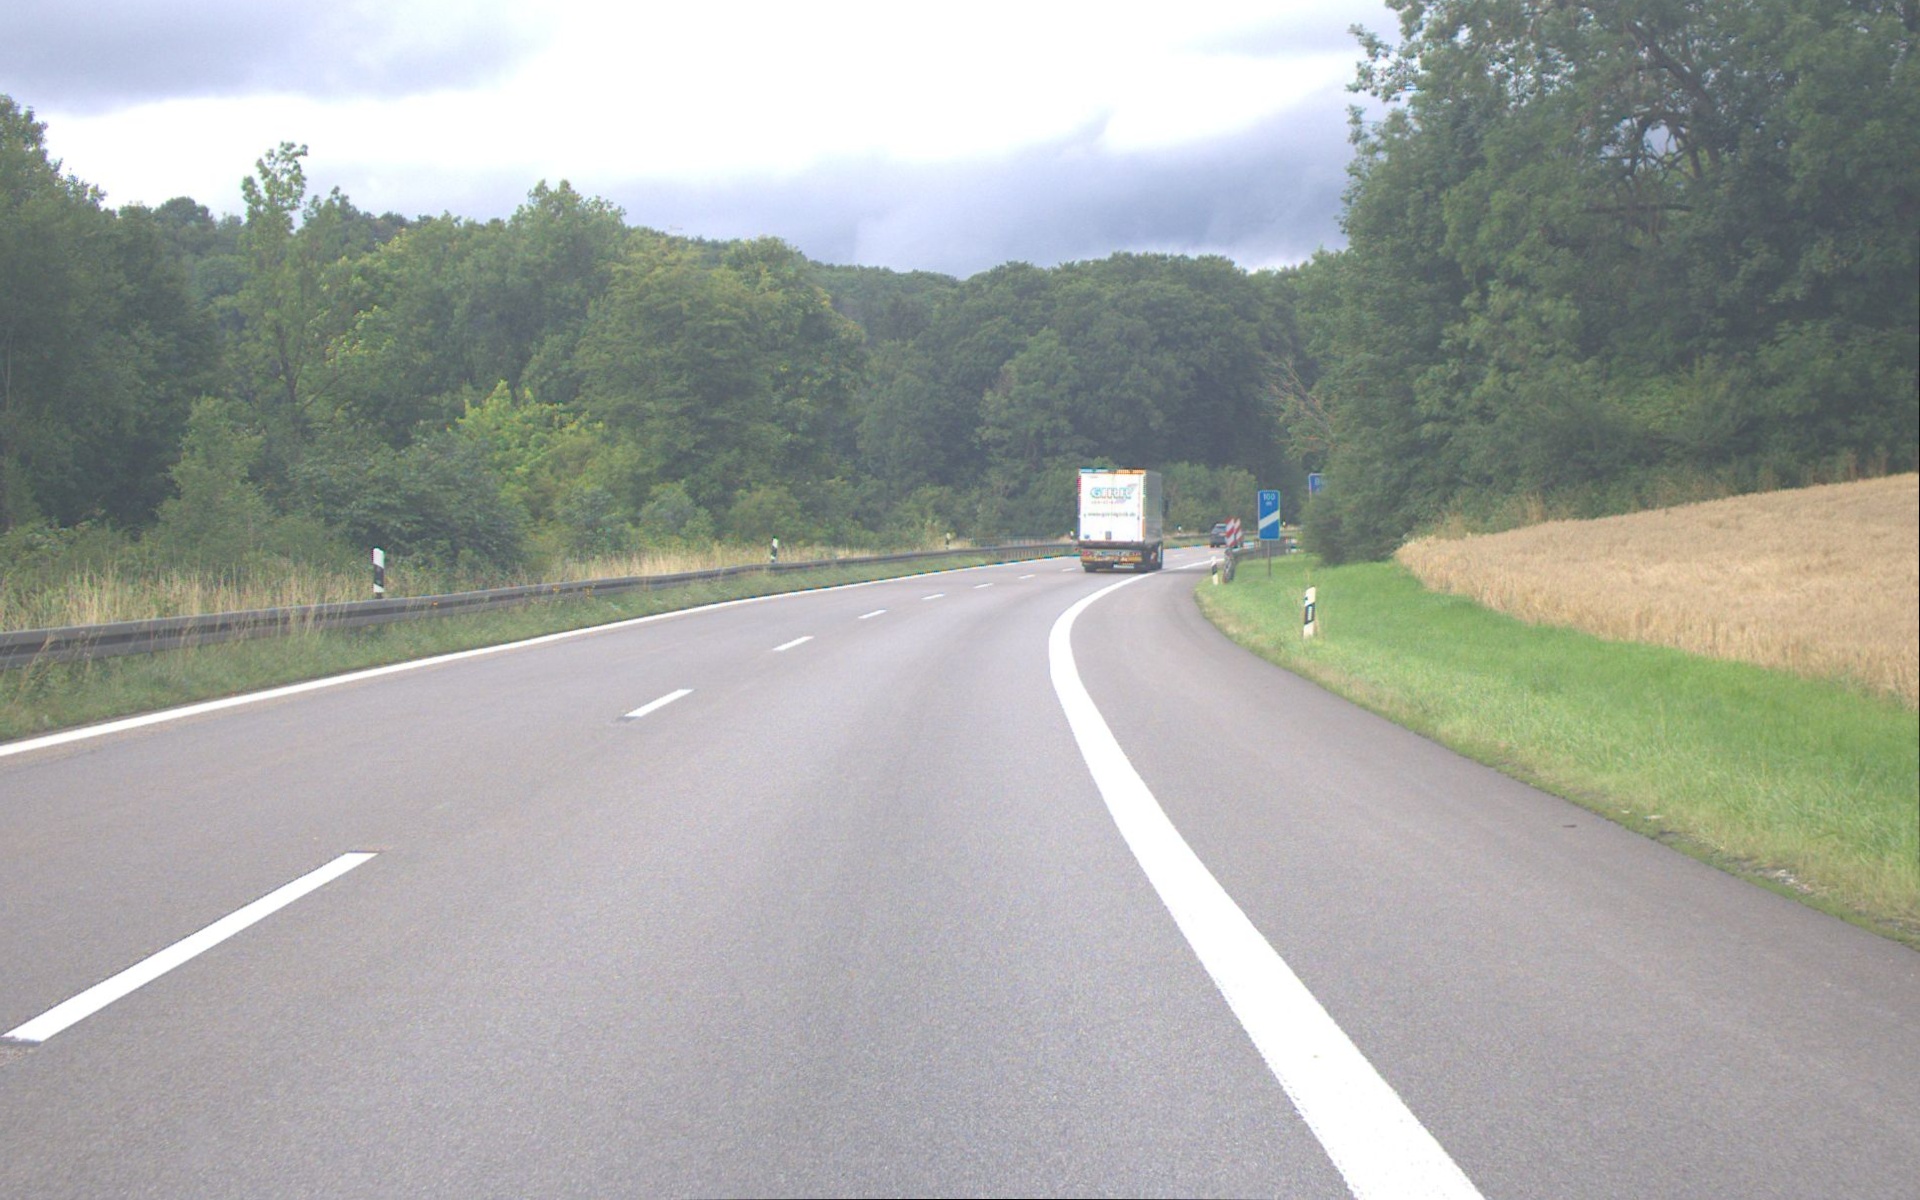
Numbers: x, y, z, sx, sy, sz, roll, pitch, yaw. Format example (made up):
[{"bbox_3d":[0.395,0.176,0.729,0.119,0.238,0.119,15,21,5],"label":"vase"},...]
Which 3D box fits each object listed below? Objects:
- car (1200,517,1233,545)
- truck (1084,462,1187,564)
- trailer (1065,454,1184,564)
[{"bbox_3d":[17.132,-4.623,229.429,1.903,1.789,3.999,1,0,8],"label":"car"},{"bbox_3d":[7.376,-3.583,143.208,3.788,4.118,8.263,0,1,6],"label":"truck"},{"bbox_3d":[6.703,-3.532,137.184,3.806,4.160,14.805,0,1,6],"label":"trailer"}]
